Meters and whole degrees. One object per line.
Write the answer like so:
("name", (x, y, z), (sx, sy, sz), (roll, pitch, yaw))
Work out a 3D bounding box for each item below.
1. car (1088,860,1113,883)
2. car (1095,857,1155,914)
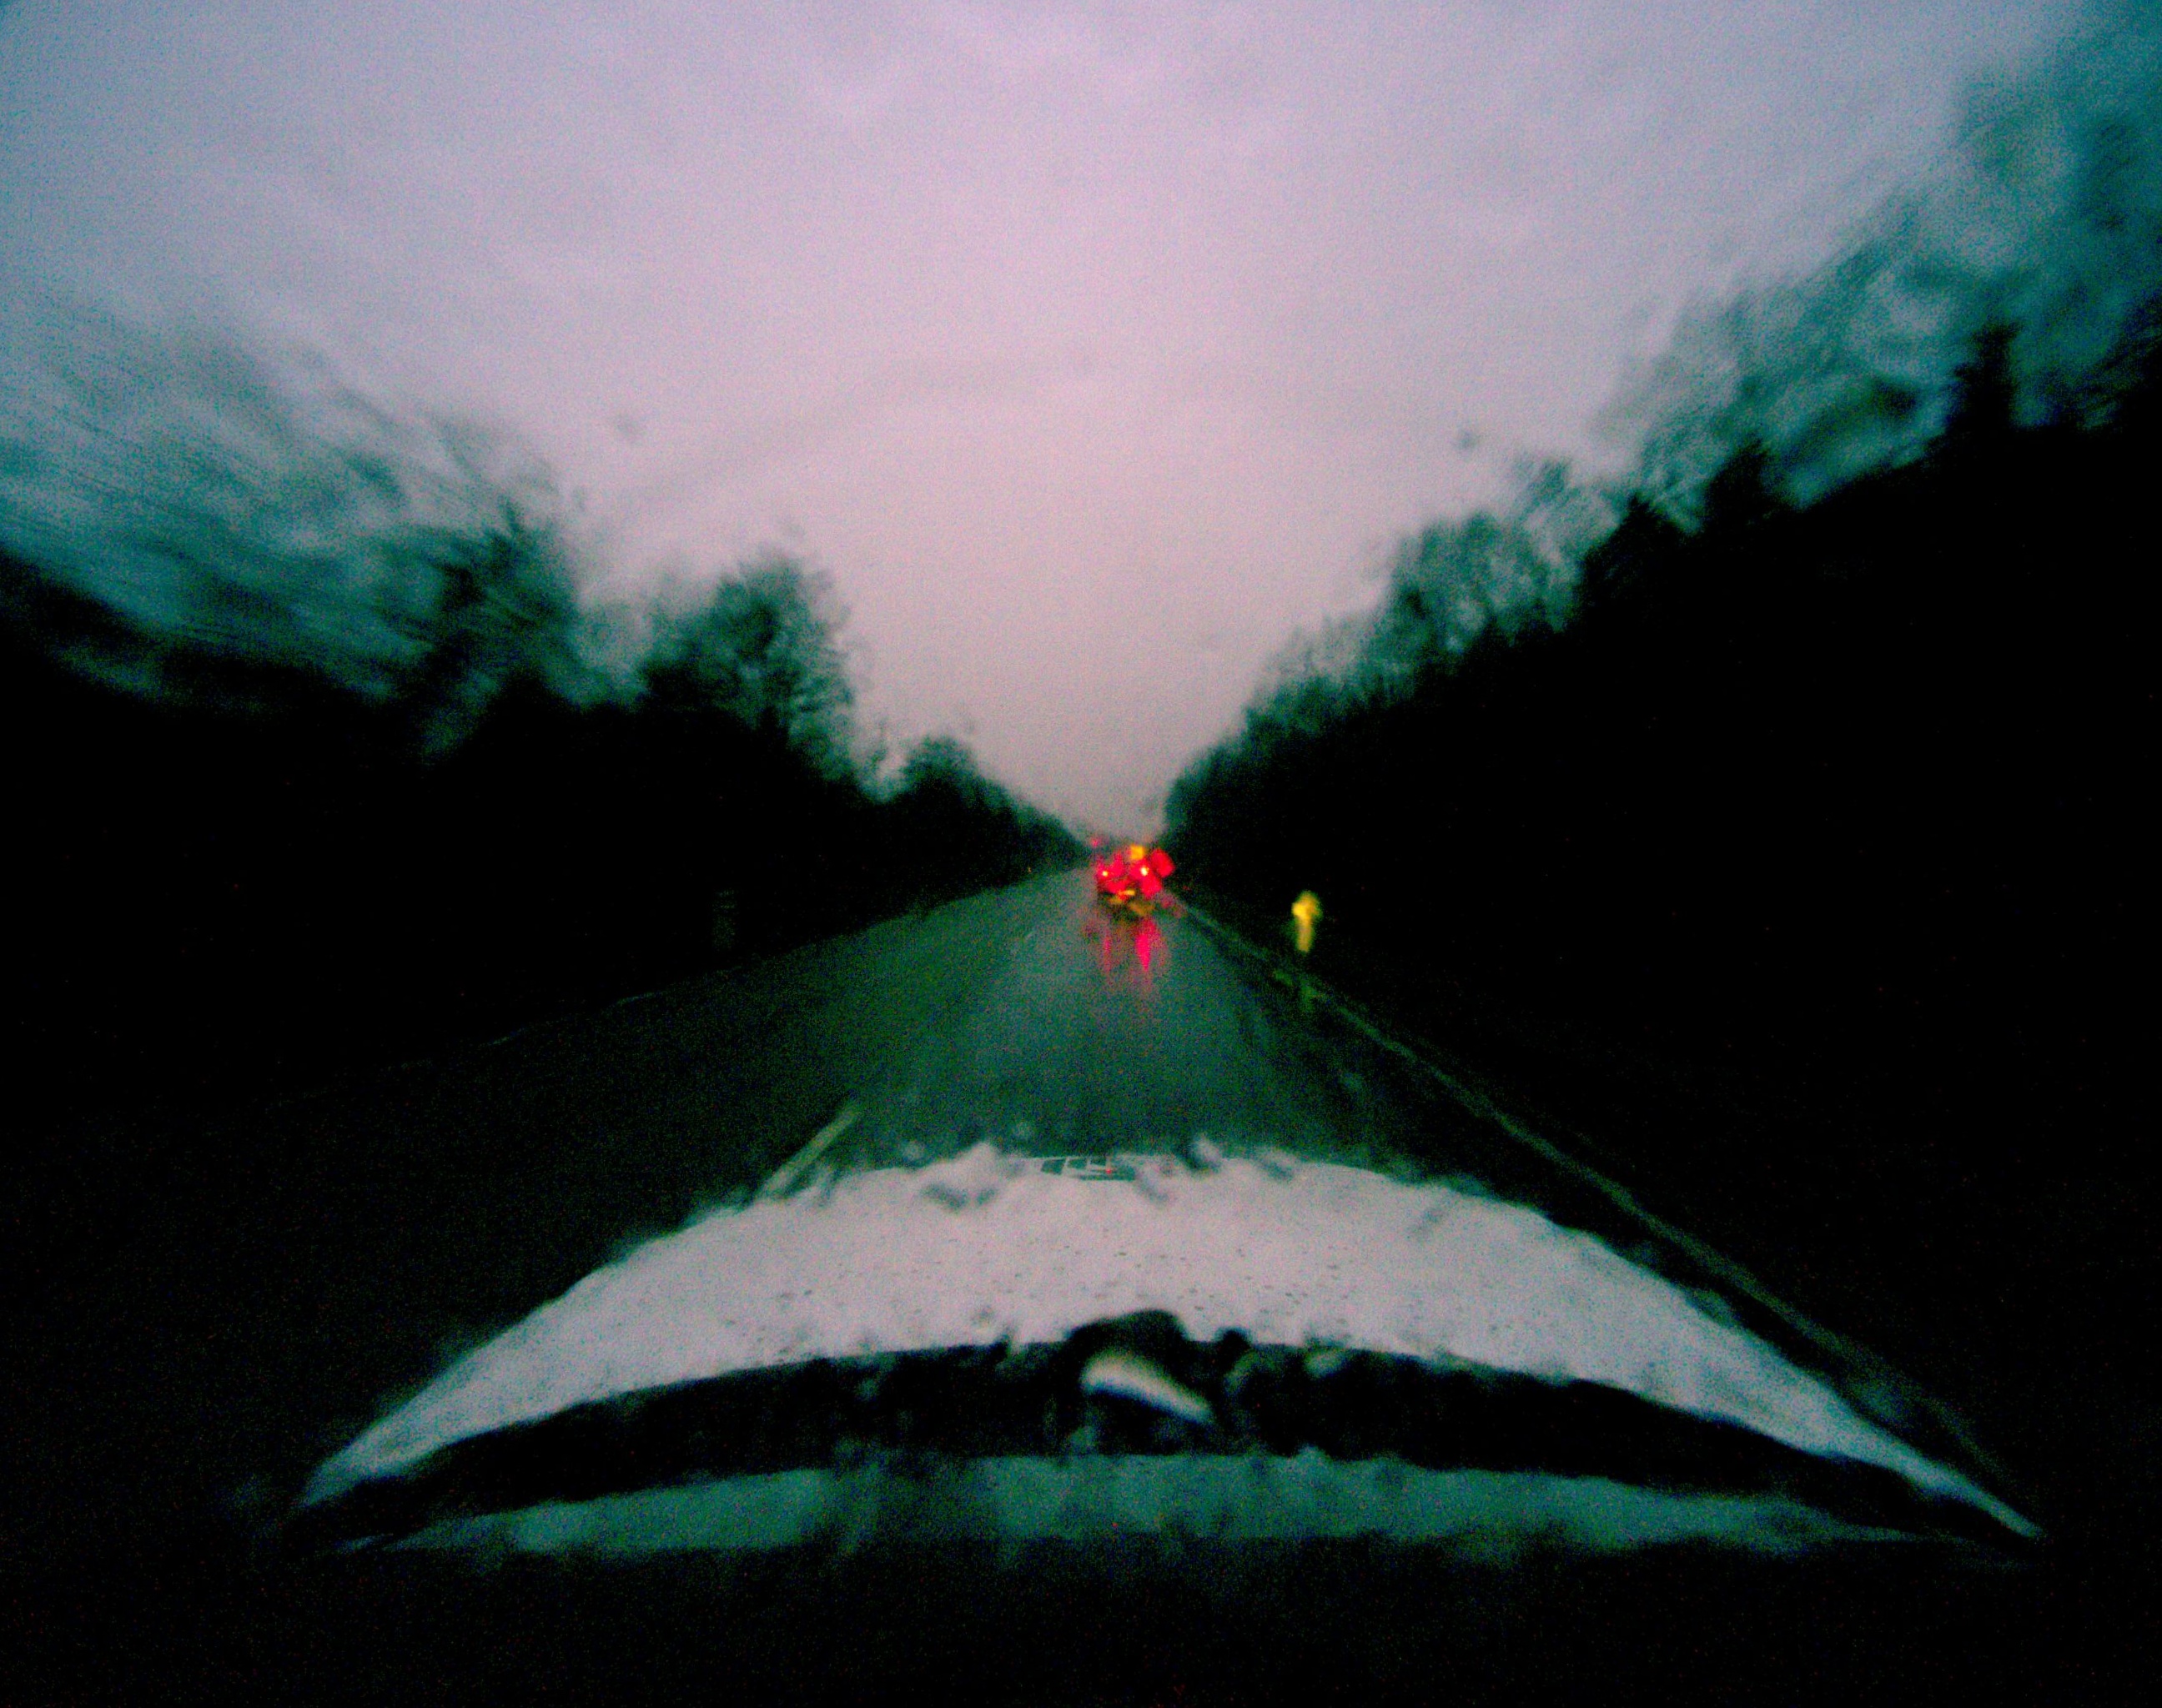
("car", (1.499, 1.285, 61.958), (1.720, 1.643, 4.003), (-1, -1, 3))
("car", (1.383, 0.938, 25.596), (1.720, 1.643, 4.003), (-1, -1, 3))
